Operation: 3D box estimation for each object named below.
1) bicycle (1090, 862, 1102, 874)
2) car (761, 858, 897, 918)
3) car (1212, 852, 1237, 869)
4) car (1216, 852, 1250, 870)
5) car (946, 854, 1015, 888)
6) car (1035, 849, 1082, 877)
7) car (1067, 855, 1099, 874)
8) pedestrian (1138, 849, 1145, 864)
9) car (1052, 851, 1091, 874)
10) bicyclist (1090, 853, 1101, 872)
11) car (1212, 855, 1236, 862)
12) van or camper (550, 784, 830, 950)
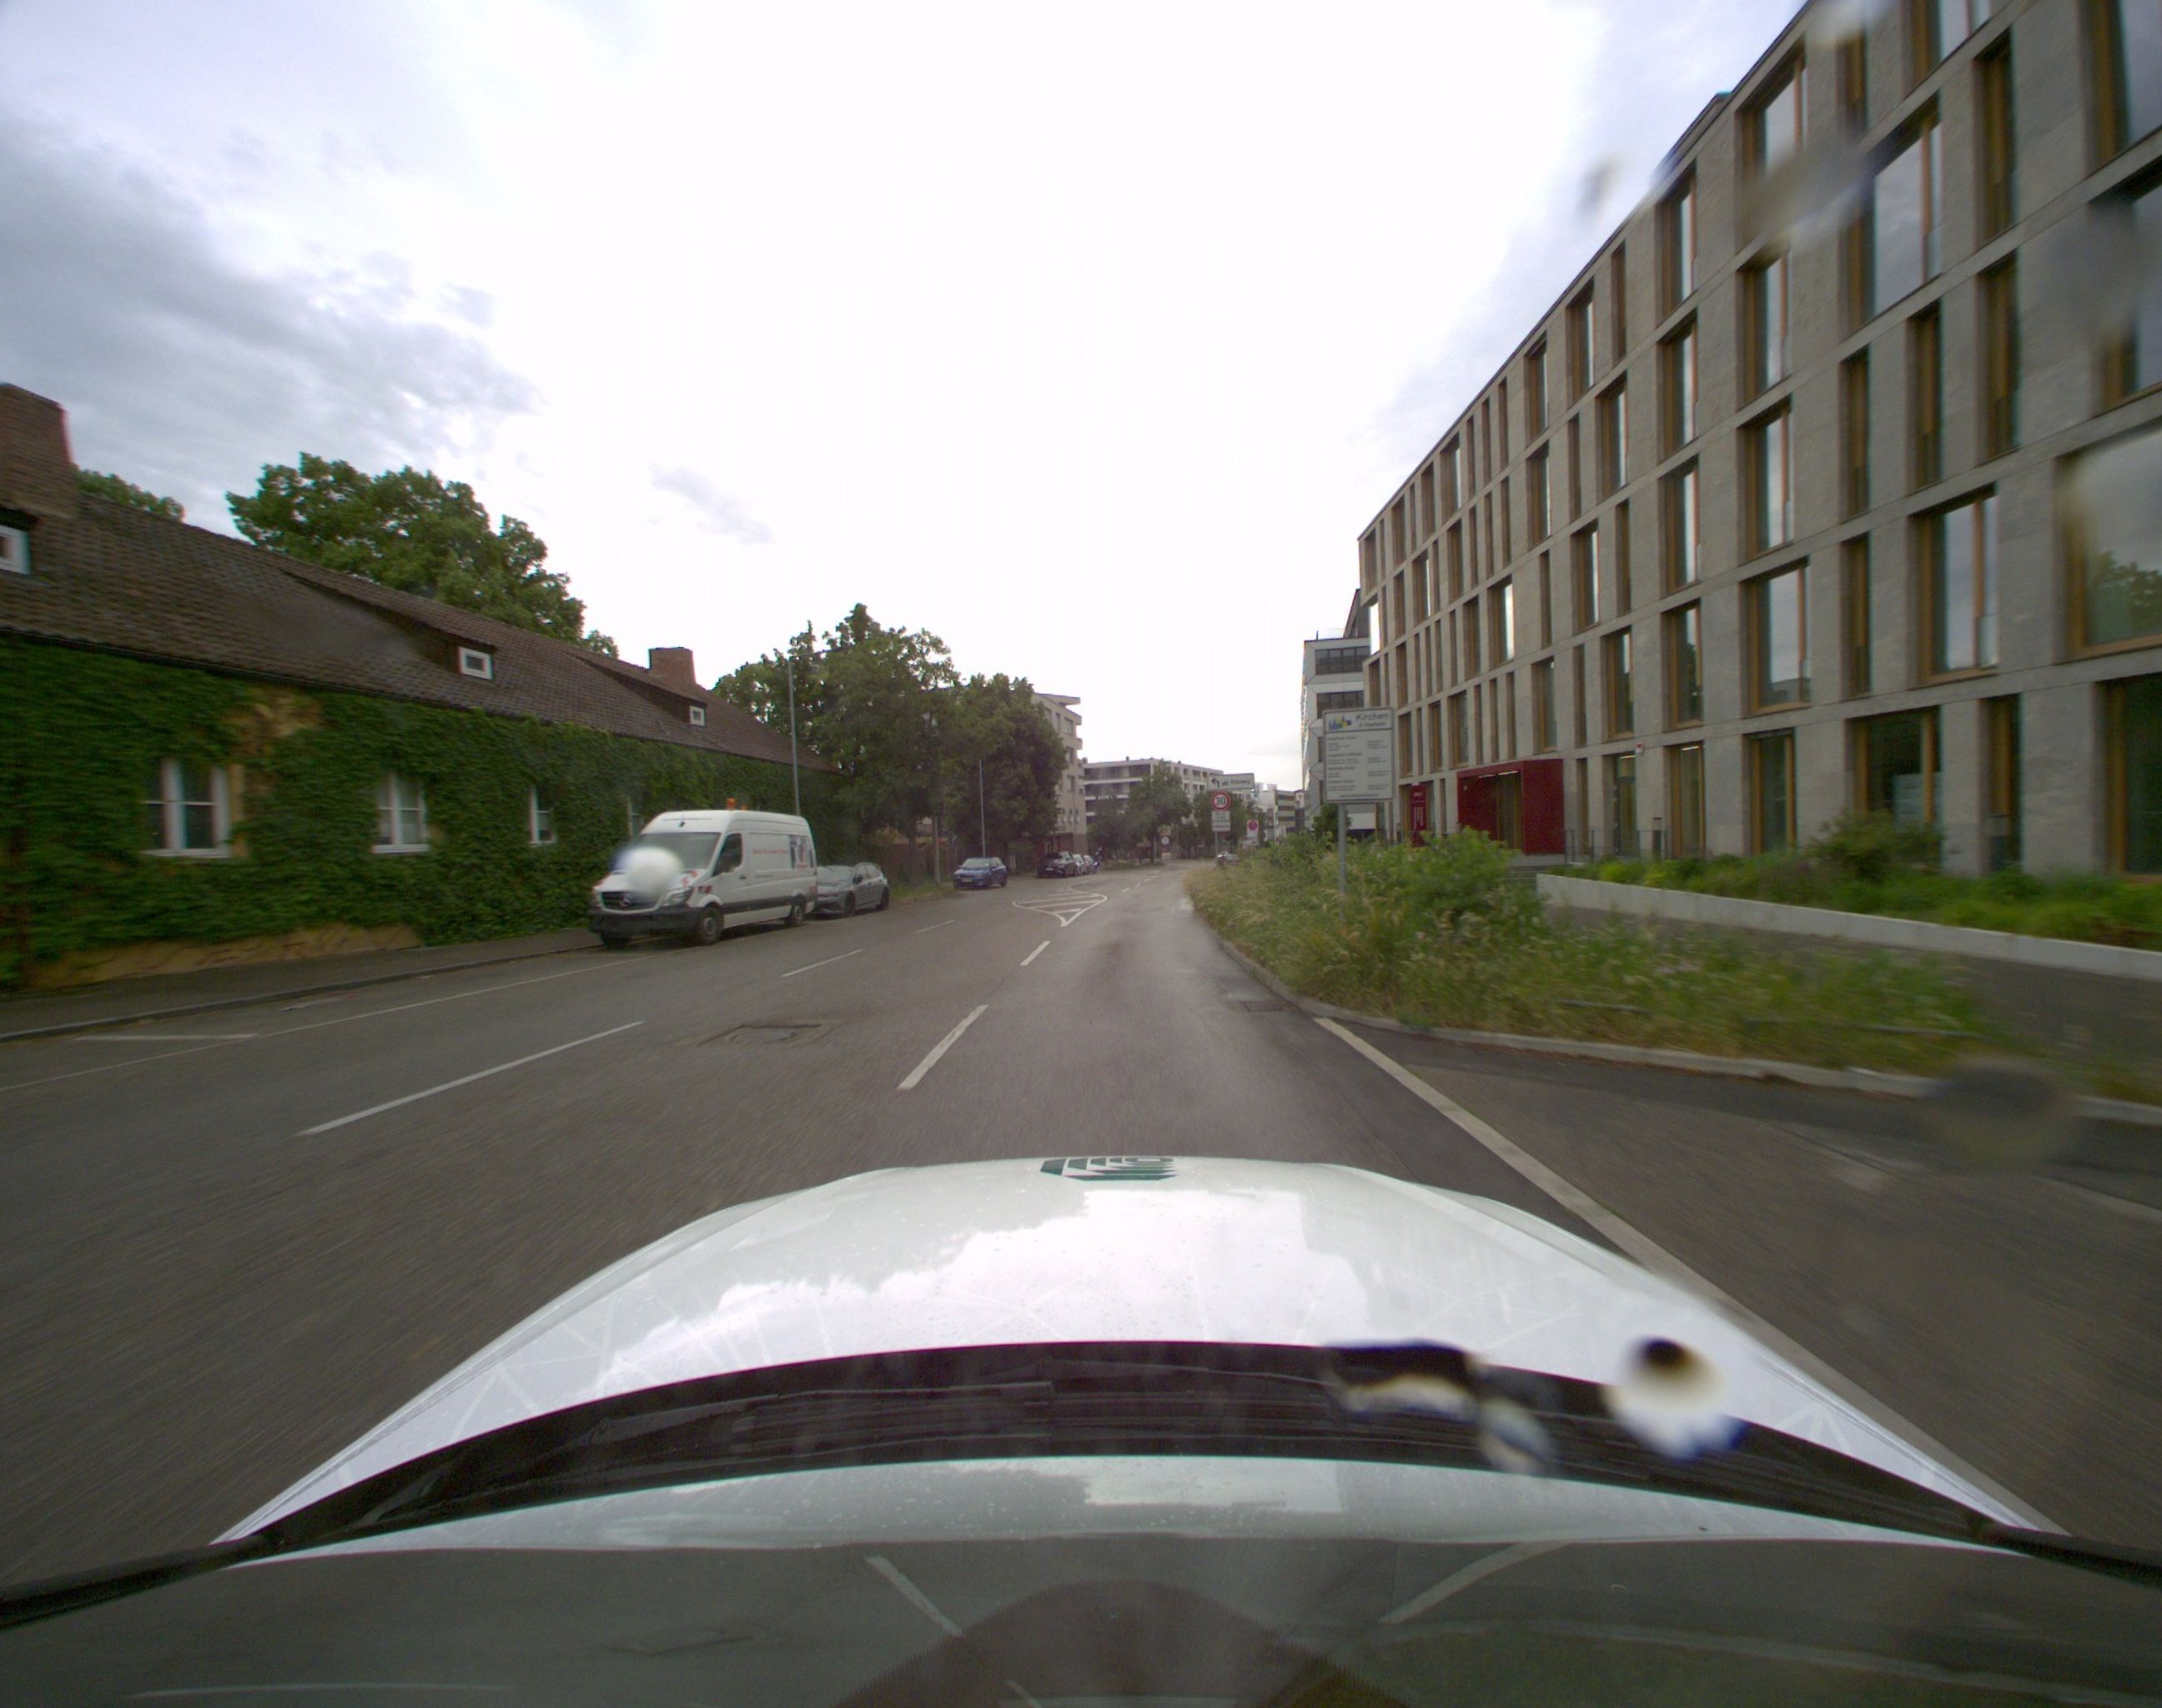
[{"bbox_3d":[1.256,1.187,68.962,0.797,0.979,2.258,-1,0,6],"label":"bicycle"},{"bbox_3d":[-6.891,0.881,22.818,1.983,1.512,4.431,-1,0,7],"label":"car"},{"bbox_3d":[12.761,0.574,72.365,2.026,1.464,4.517,0,0,11],"label":"car"},{"bbox_3d":[12.310,0.546,66.095,2.037,1.458,4.055,0,0,0],"label":"car"},{"bbox_3d":[-4.663,0.773,38.416,1.981,1.470,4.198,-1,0,11],"label":"car"},{"bbox_3d":[-1.458,0.590,55.276,1.980,1.786,5.428,-1,0,12],"label":"car"},{"bbox_3d":[0.187,0.849,65.640,1.867,1.463,3.859,-1,0,12],"label":"car"},{"bbox_3d":[8.218,0.389,110.603,1.050,2.014,1.101,0,-1,4],"label":"pedestrian"},{"bbox_3d":[-0.659,0.625,61.238,1.977,1.593,4.503,-1,0,11],"label":"car"},{"bbox_3d":[1.247,0.715,68.911,0.797,1.523,1.204,-1,-1,6],"label":"bicyclist"},{"bbox_3d":[24.600,0.772,139.807,1.974,1.292,4.732,-1,0,40],"label":"car"},{"bbox_3d":[-7.538,0.204,16.755,2.329,2.765,6.151,-1,0,5],"label":"van or camper"}]
